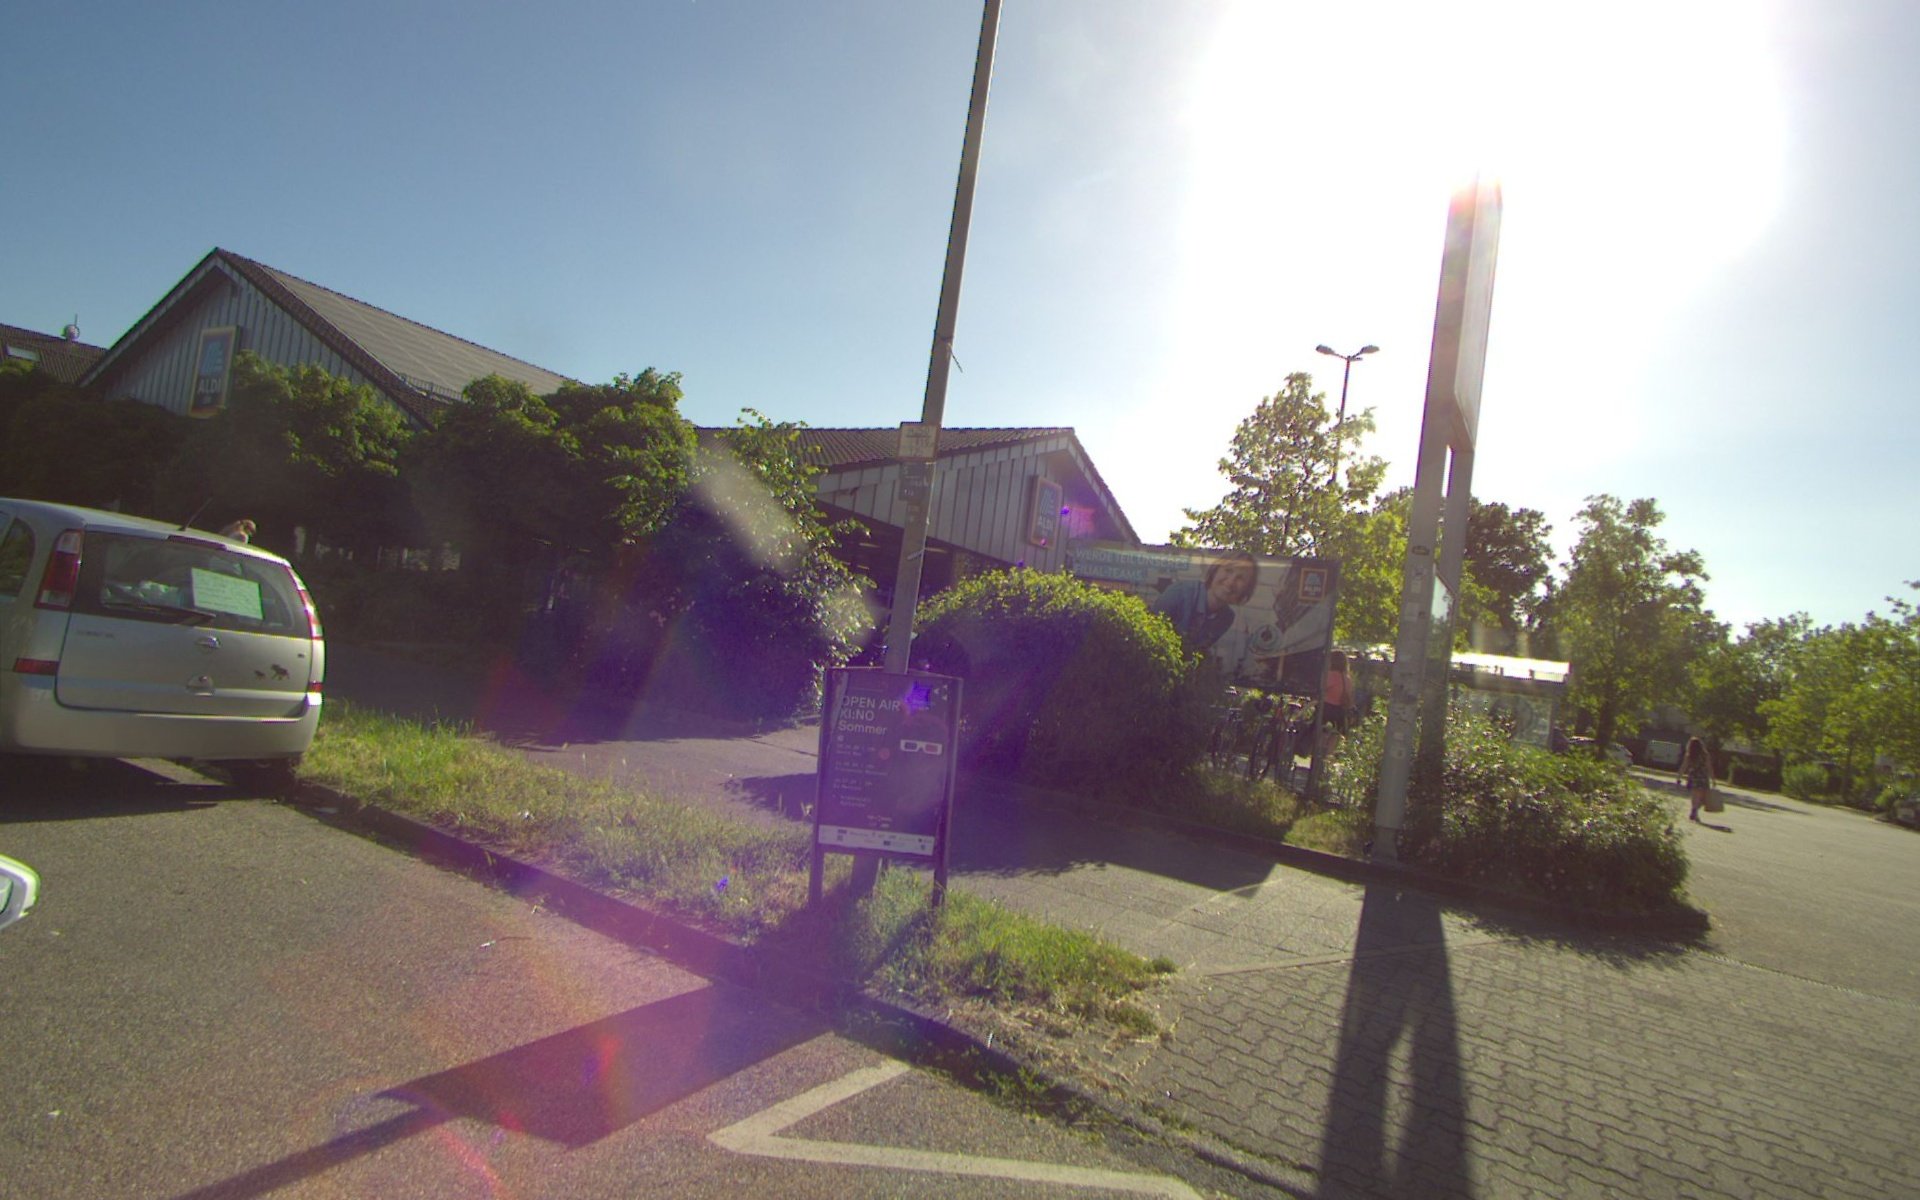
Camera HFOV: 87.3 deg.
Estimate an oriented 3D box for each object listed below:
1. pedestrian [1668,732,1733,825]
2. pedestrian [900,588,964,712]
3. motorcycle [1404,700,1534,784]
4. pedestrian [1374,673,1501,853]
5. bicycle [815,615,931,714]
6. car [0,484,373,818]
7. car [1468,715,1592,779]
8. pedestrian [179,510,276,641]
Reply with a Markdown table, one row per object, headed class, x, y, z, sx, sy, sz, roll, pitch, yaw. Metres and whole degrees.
| class | x | y | z | sx | sy | sz | roll | pitch | yaw |
| --- | --- | --- | --- | --- | --- | --- | --- | --- | --- |
| pedestrian | 14.838 | 3.557 | 20.179 | 0.814 | 1.675 | 0.673 | 7 | -2 | 30 |
| pedestrian | -0.431 | 0.790 | 15.885 | 0.581 | 1.838 | 0.882 | 8 | -2 | 11 |
| motorcycle | 12.114 | 3.358 | 23.979 | 2.554 | 1.526 | 0.871 | 7 | -2 | 32 |
| pedestrian | 4.819 | 1.629 | 10.162 | 0.688 | 1.650 | 0.769 | 9 | -2 | -38 |
| bicycle | -1.298 | 0.966 | 15.177 | 1.508 | 1.257 | 0.562 | 8 | -1 | 5 |
| car | -5.974 | 0.196 | 6.550 | 3.958 | 1.615 | 1.687 | 6 | -6 | 28 |
| car | 22.156 | 5.676 | 39.148 | 3.934 | 1.725 | 1.998 | 7 | -2 | 32 |
| pedestrian | -10.915 | -0.356 | 15.001 | 0.797 | 1.802 | 0.798 | 7 | -2 | 39 |
